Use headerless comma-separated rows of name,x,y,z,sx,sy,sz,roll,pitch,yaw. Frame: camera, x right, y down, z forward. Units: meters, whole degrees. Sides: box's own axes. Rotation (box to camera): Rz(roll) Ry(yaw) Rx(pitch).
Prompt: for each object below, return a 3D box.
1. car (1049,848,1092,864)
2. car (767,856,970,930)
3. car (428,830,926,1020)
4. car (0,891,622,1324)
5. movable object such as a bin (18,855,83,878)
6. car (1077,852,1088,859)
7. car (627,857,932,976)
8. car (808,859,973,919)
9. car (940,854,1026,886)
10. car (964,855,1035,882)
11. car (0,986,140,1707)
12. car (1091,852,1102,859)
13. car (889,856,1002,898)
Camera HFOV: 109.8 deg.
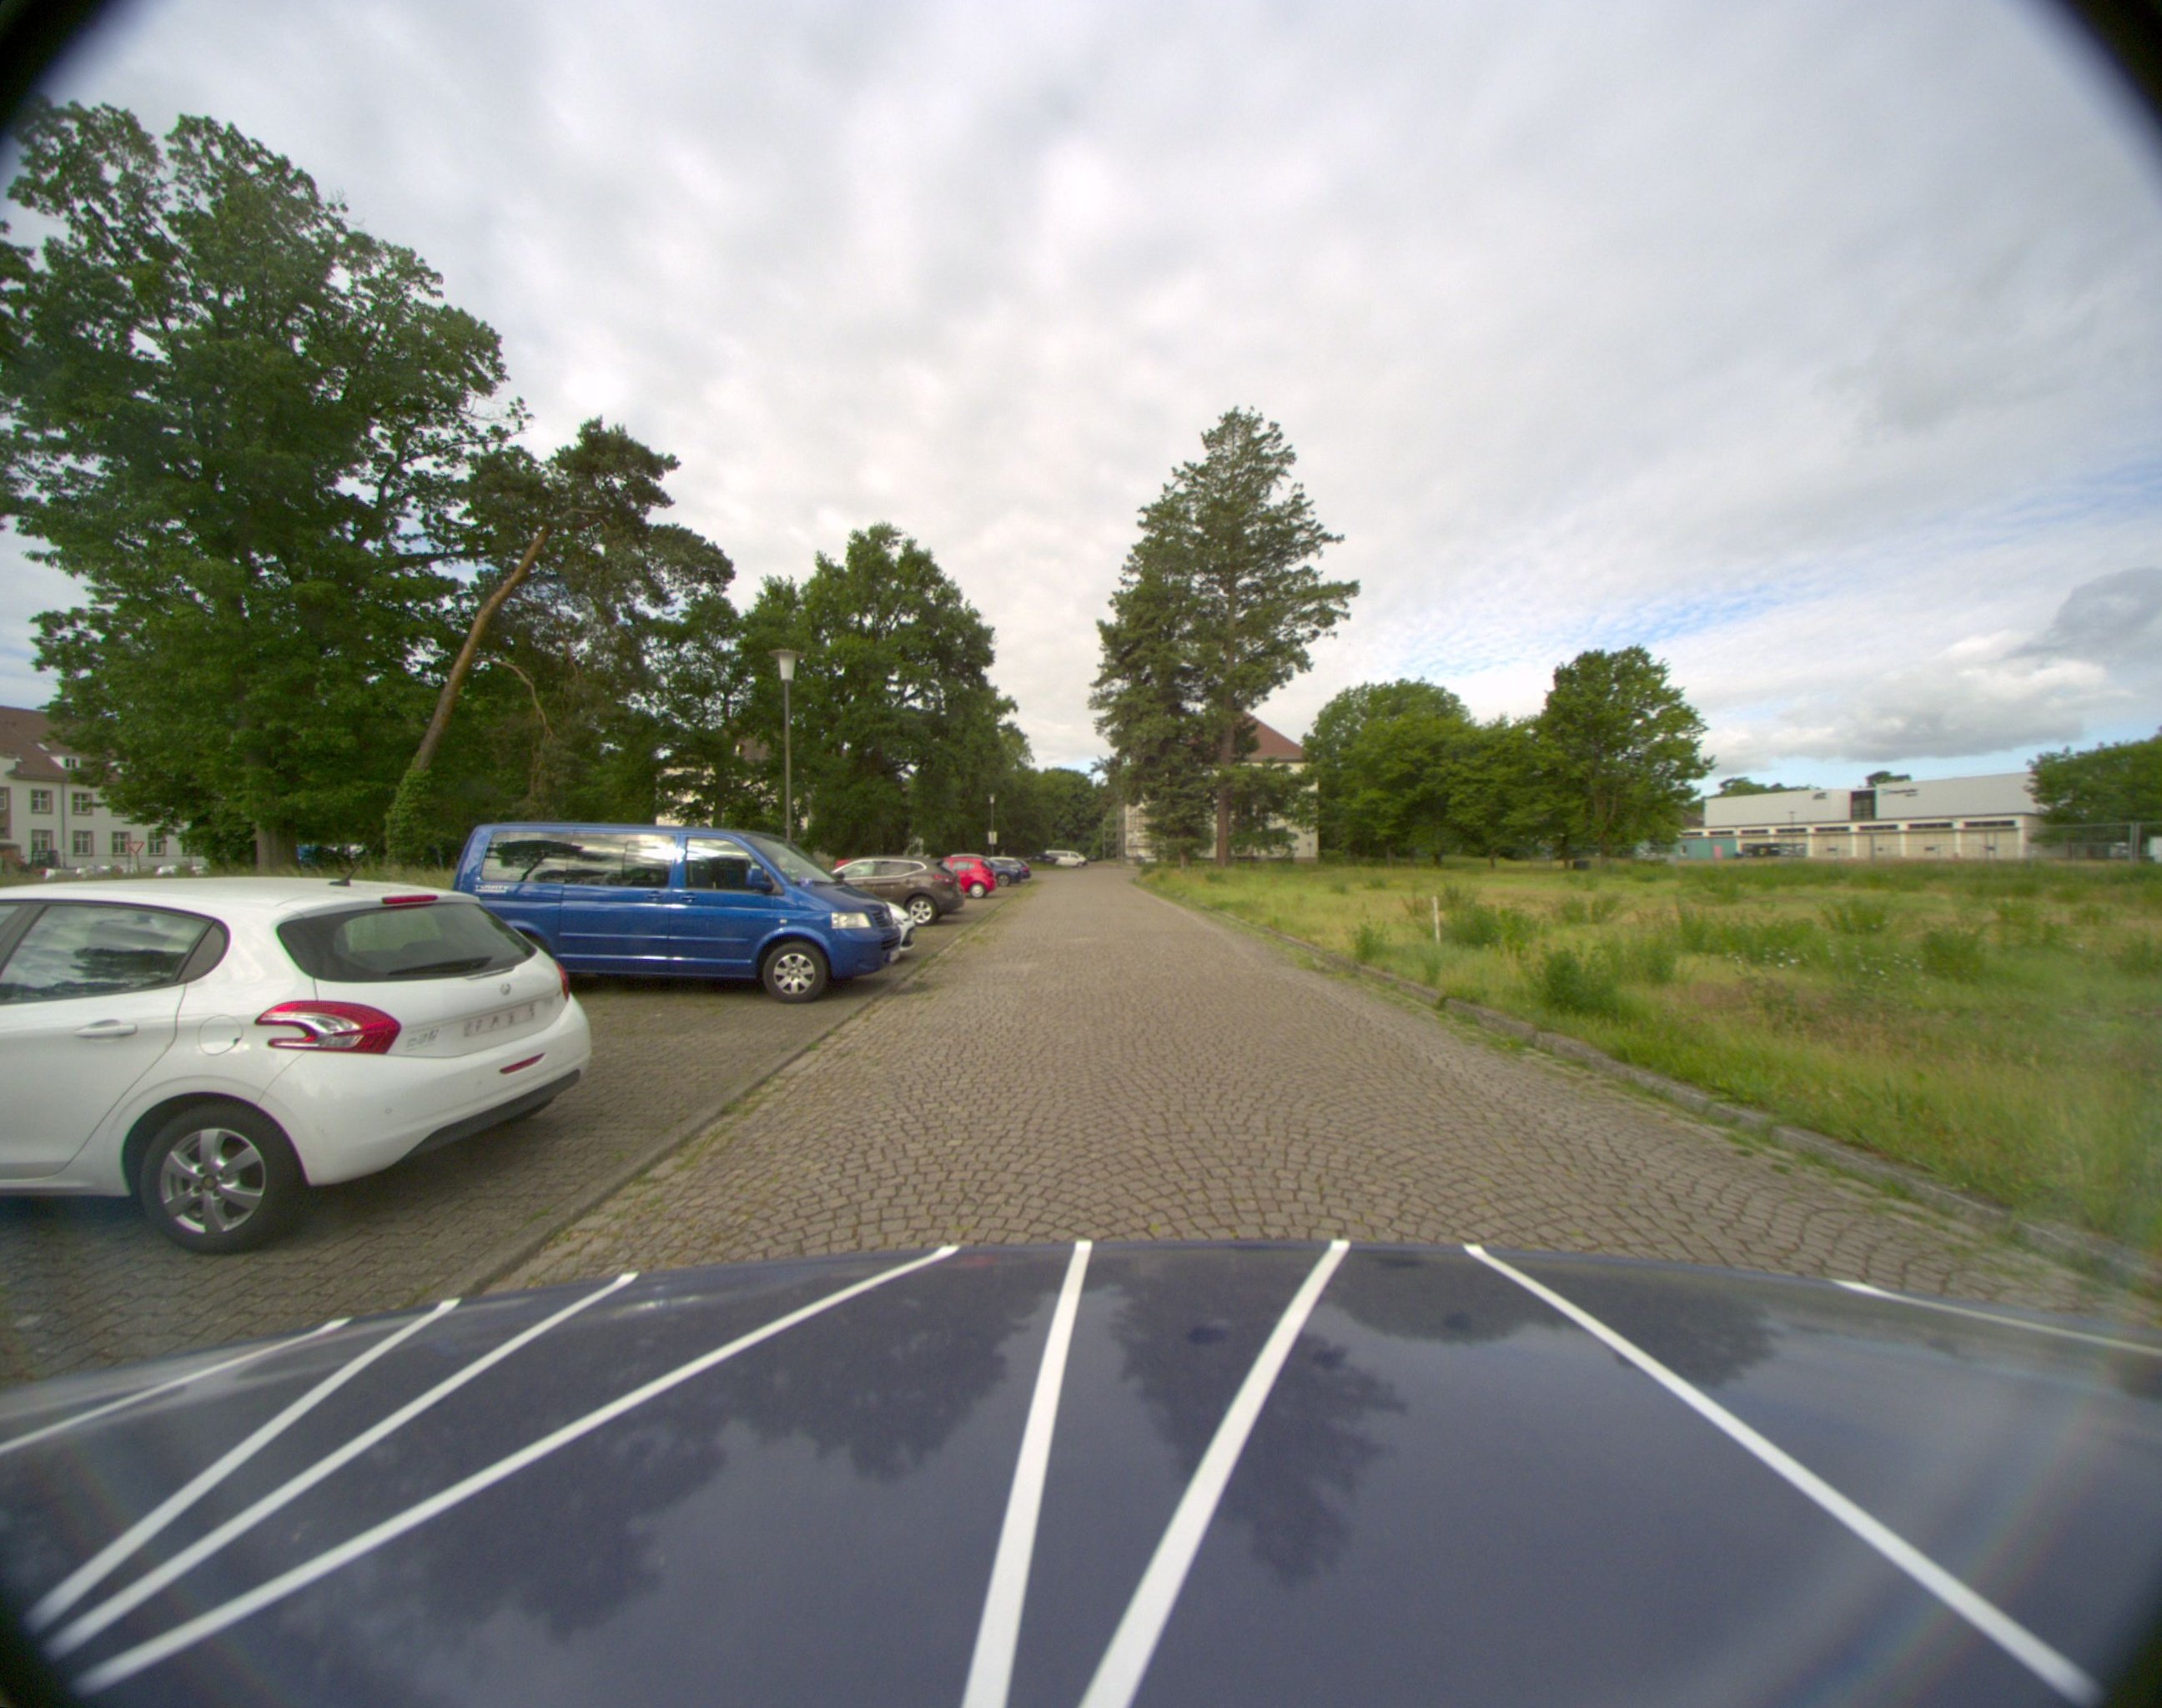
car,-1.315,0.217,91.911,5.141,1.860,1.723,1,0,-2
car,-4.884,0.882,17.898,4.271,1.589,1.821,1,0,-2
car,-4.468,0.762,9.067,4.820,1.934,2.002,1,0,-2
car,-4.749,1.001,3.757,3.872,1.463,1.758,1,0,0
movable object such as a bin,-90.748,1.073,66.965,1.553,2.002,2.985,0,0,0
car,0.373,0.305,158.344,1.870,1.408,4.694,1,0,-5
car,-4.422,0.893,11.632,3.873,1.463,1.841,3,0,-2
car,-5.077,0.914,20.624,4.016,1.477,1.765,1,0,0
car,-4.899,0.774,38.416,4.150,1.529,1.582,1,0,-2
car,-4.587,0.810,43.079,3.878,1.417,1.582,1,0,-2
car,-4.163,1.008,0.895,3.872,1.463,1.758,1,0,-1
car,3.254,0.240,158.918,1.870,1.408,4.694,1,0,-5
car,-4.965,0.845,28.174,3.895,1.451,1.582,1,0,-2
